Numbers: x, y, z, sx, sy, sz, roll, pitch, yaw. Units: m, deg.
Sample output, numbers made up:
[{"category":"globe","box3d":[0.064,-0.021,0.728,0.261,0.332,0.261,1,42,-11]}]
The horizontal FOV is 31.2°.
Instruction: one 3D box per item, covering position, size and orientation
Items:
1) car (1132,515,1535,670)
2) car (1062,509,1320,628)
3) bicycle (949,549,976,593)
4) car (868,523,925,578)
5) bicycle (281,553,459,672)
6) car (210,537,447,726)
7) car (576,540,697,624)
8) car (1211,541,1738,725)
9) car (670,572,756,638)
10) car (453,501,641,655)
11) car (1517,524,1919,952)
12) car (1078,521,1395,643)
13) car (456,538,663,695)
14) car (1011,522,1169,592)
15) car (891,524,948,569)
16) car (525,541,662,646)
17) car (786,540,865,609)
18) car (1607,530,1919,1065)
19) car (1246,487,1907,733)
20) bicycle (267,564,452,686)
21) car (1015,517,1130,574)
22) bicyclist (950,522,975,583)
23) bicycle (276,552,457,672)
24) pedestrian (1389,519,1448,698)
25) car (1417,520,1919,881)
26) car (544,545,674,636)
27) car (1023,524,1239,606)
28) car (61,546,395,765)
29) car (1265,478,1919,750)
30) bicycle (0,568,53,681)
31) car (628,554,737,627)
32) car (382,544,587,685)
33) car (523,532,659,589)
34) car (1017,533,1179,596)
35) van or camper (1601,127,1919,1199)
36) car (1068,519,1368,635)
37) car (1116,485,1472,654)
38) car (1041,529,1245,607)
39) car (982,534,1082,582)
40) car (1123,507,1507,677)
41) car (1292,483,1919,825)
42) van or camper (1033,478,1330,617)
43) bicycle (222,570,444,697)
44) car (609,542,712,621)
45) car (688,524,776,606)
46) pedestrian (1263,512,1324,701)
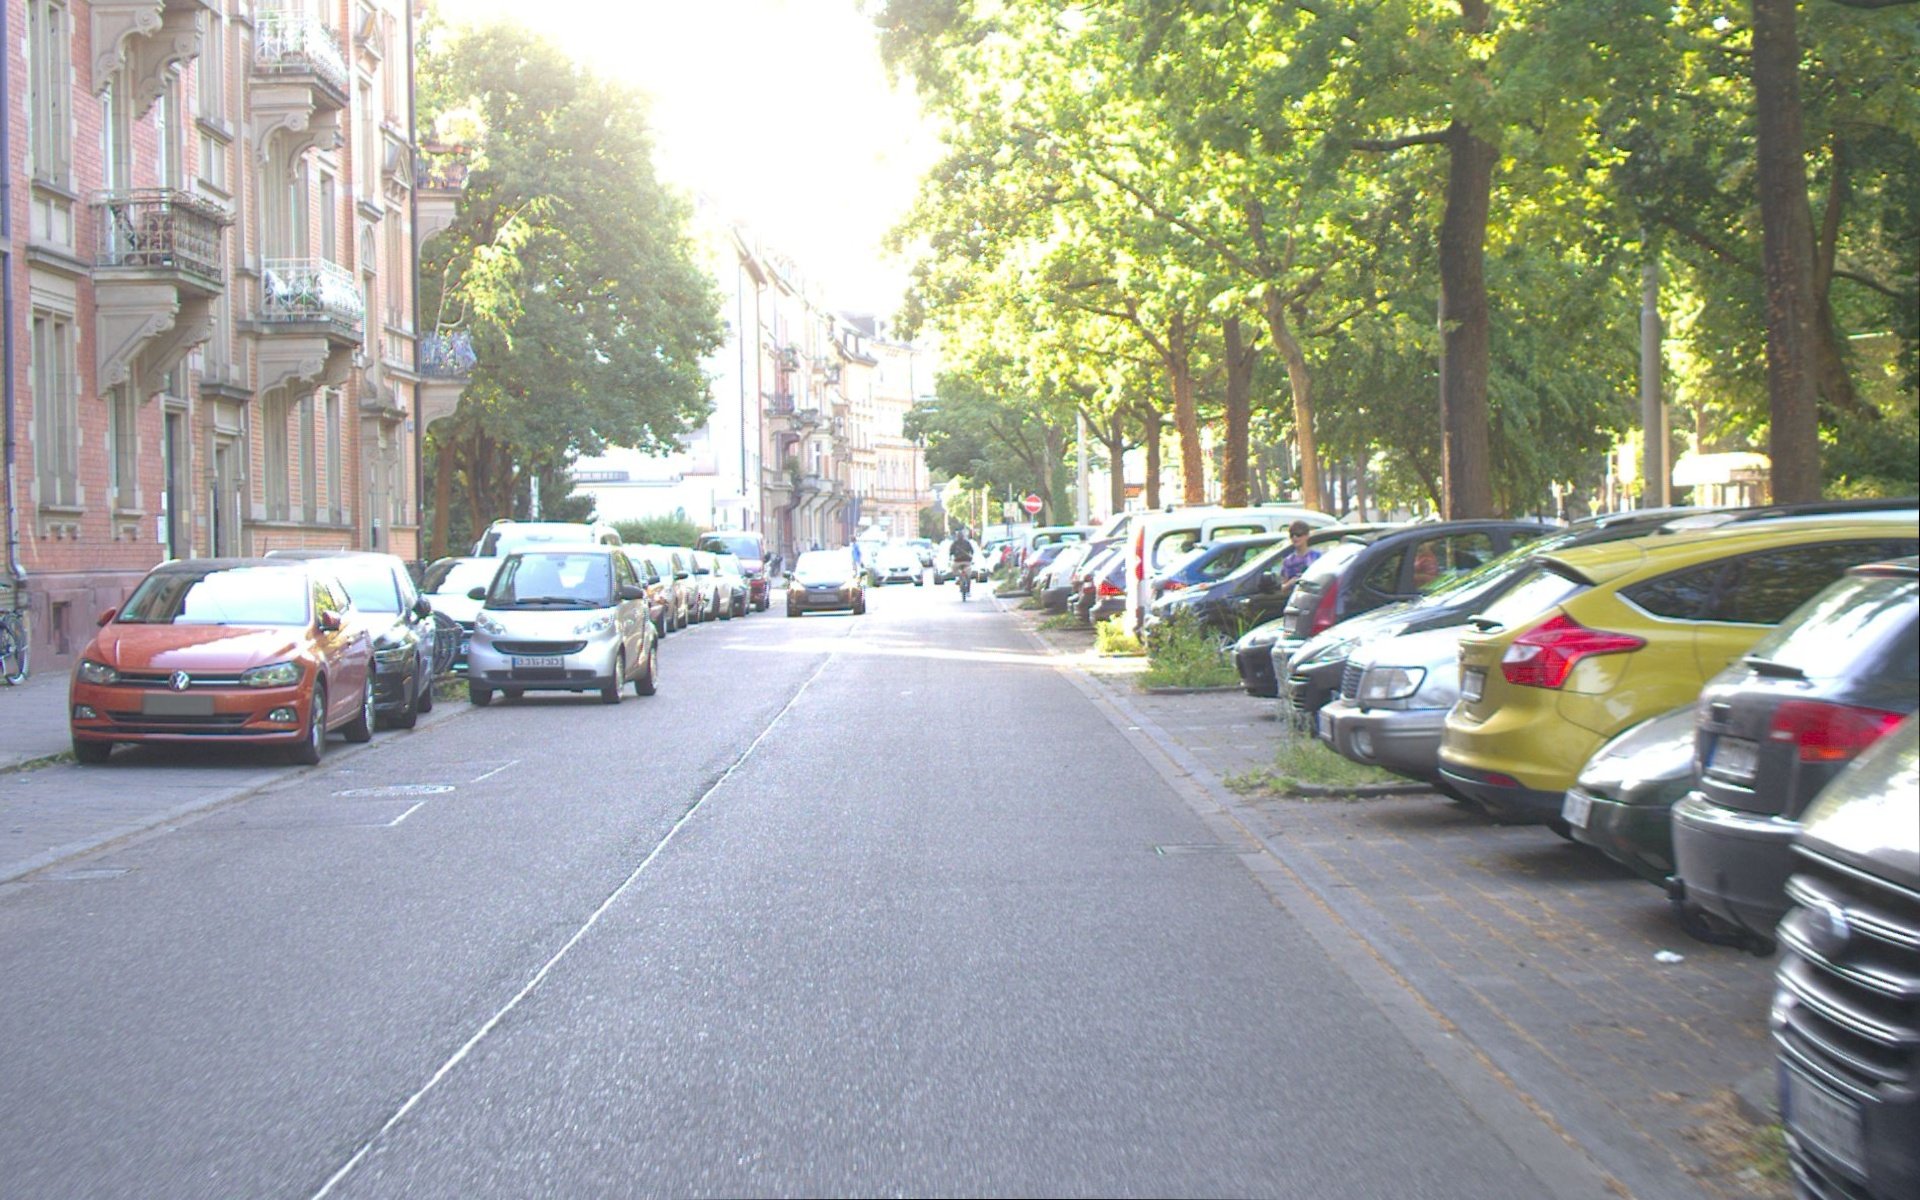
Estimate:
[{"category":"car","box3d":[4.027,-0.094,37.484,4.081,1.437,1.762,-3,1,-2]},{"category":"car","box3d":[3.694,-0.517,55.458,3.987,1.685,1.859,-3,1,1]},{"category":"bicycle","box3d":[0.061,-0.757,89.844,0.641,1.096,1.944,0,-1,-1]},{"category":"car","box3d":[-2.270,-1.741,122.175,1.993,1.831,4.000,0,-1,-1]},{"category":"bicycle","box3d":[-6.060,0.129,35.337,1.763,1.211,0.428,0,-1,0]},{"category":"car","box3d":[-5.495,0.236,30.320,1.746,1.541,4.153,0,1,-6]},{"category":"car","box3d":[-5.766,-0.341,61.642,1.704,1.424,3.877,1,1,1]},{"category":"car","box3d":[3.994,0.240,27.110,3.842,1.274,1.691,-2,1,-1]},{"category":"car","box3d":[-5.784,0.101,80.842,1.756,1.461,4.268,0,1,-1]},{"category":"car","box3d":[-5.388,-0.245,45.447,1.993,1.914,5.040,0,-1,-1]},{"category":"car","box3d":[4.401,0.413,12.677,4.399,1.435,1.837,-2,0,2]},{"category":"car","box3d":[3.807,-0.262,47.488,4.220,1.448,1.648,-3,1,4]},{"category":"car","box3d":[-3.959,0.135,34.335,1.504,1.430,2.752,-2,1,4]},{"category":"car","box3d":[3.395,-1.125,90.300,3.986,1.788,1.859,0,-1,-3]},{"category":"car","box3d":[-1.518,-1.987,127.376,1.778,1.668,4.488,0,1,-5]},{"category":"car","box3d":[-5.390,-0.124,50.976,1.669,1.481,4.000,1,1,-1]},{"category":"car","box3d":[-3.028,-0.604,78.054,1.668,1.459,4.000,-2,1,-1]},{"category":"car","box3d":[4.338,0.461,10.277,4.399,1.435,1.838,-2,0,-1]},{"category":"car","box3d":[4.455,0.062,25.247,4.398,1.585,1.838,-2,0,-5]},{"category":"bicycle","box3d":[-5.985,0.250,34.308,1.763,1.211,0.441,0,-1,0]},{"category":"car","box3d":[4.167,-2.013,127.333,3.989,2.007,1.999,0,-1,11]},{"category":"bicyclist","box3d":[0.064,-1.247,89.803,0.627,1.568,0.802,0,-1,-1]},{"category":"bicycle","box3d":[-6.006,0.123,34.825,1.763,1.211,0.464,0,-1,0]},{"category":"pedestrian","box3d":[3.963,0.070,29.686,0.380,1.511,0.518,0,3,19]},{"category":"car","box3d":[4.326,0.369,15.115,4.399,1.435,1.837,-2,0,2]},{"category":"car","box3d":[-5.697,-0.183,56.206,1.670,1.425,4.241,0,1,0]},{"category":"car","box3d":[3.583,-0.722,72.630,4.389,1.694,1.859,0,-1,-3]},{"category":"car","box3d":[-5.375,0.351,25.698,1.753,1.459,4.001,1,1,-2]},{"category":"car","box3d":[4.307,0.076,22.646,4.399,1.585,1.838,-2,0,1]},{"category":"bicycle","box3d":[-9.737,0.249,35.045,0.427,1.126,1.769,0,-1,3]},{"category":"car","box3d":[-5.797,-0.218,72.179,1.756,1.461,4.267,0,1,3]},{"category":"car","box3d":[-5.410,0.124,39.568,1.674,1.449,4.210,-2,1,1]},{"category":"car","box3d":[-11.448,-1.223,106.762,3.987,1.700,2.000,0,-1,1]},{"category":"car","box3d":[3.499,-0.895,87.628,3.986,1.558,1.859,0,-1,-3]},{"category":"van or camper","box3d":[3.917,0.270,5.432,5.414,2.020,2.029,-2,1,2]},{"category":"car","box3d":[3.737,-0.345,50.383,4.220,1.448,1.865,-3,1,1]},{"category":"car","box3d":[4.128,-0.393,42.965,4.220,1.857,1.762,-3,1,1]},{"category":"car","box3d":[3.707,-0.638,70.014,3.986,1.543,1.859,0,-1,-3]},{"category":"car","box3d":[3.105,-1.796,147.790,3.989,2.007,1.999,0,-1,11]},{"category":"car","box3d":[3.551,-0.095,34.895,3.674,1.496,1.762,-3,1,1]},{"category":"car","box3d":[4.047,0.235,17.873,4.399,1.585,1.838,-2,0,0]},{"category":"van or camper","box3d":[3.816,-0.895,60.015,4.981,2.369,2.185,0,-1,-2]},{"category":"bicycle","box3d":[-6.075,0.323,33.347,2.087,1.211,0.442,0,-1,-15]},{"category":"car","box3d":[-5.867,-0.388,67.713,1.756,1.510,4.162,0,1,-1]},{"category":"car","box3d":[-5.700,-0.889,86.364,1.957,2.011,4.268,0,1,-1]},{"category":"pedestrian","box3d":[2.849,0.050,29.332,0.380,1.579,0.518,0,3,19]}]
